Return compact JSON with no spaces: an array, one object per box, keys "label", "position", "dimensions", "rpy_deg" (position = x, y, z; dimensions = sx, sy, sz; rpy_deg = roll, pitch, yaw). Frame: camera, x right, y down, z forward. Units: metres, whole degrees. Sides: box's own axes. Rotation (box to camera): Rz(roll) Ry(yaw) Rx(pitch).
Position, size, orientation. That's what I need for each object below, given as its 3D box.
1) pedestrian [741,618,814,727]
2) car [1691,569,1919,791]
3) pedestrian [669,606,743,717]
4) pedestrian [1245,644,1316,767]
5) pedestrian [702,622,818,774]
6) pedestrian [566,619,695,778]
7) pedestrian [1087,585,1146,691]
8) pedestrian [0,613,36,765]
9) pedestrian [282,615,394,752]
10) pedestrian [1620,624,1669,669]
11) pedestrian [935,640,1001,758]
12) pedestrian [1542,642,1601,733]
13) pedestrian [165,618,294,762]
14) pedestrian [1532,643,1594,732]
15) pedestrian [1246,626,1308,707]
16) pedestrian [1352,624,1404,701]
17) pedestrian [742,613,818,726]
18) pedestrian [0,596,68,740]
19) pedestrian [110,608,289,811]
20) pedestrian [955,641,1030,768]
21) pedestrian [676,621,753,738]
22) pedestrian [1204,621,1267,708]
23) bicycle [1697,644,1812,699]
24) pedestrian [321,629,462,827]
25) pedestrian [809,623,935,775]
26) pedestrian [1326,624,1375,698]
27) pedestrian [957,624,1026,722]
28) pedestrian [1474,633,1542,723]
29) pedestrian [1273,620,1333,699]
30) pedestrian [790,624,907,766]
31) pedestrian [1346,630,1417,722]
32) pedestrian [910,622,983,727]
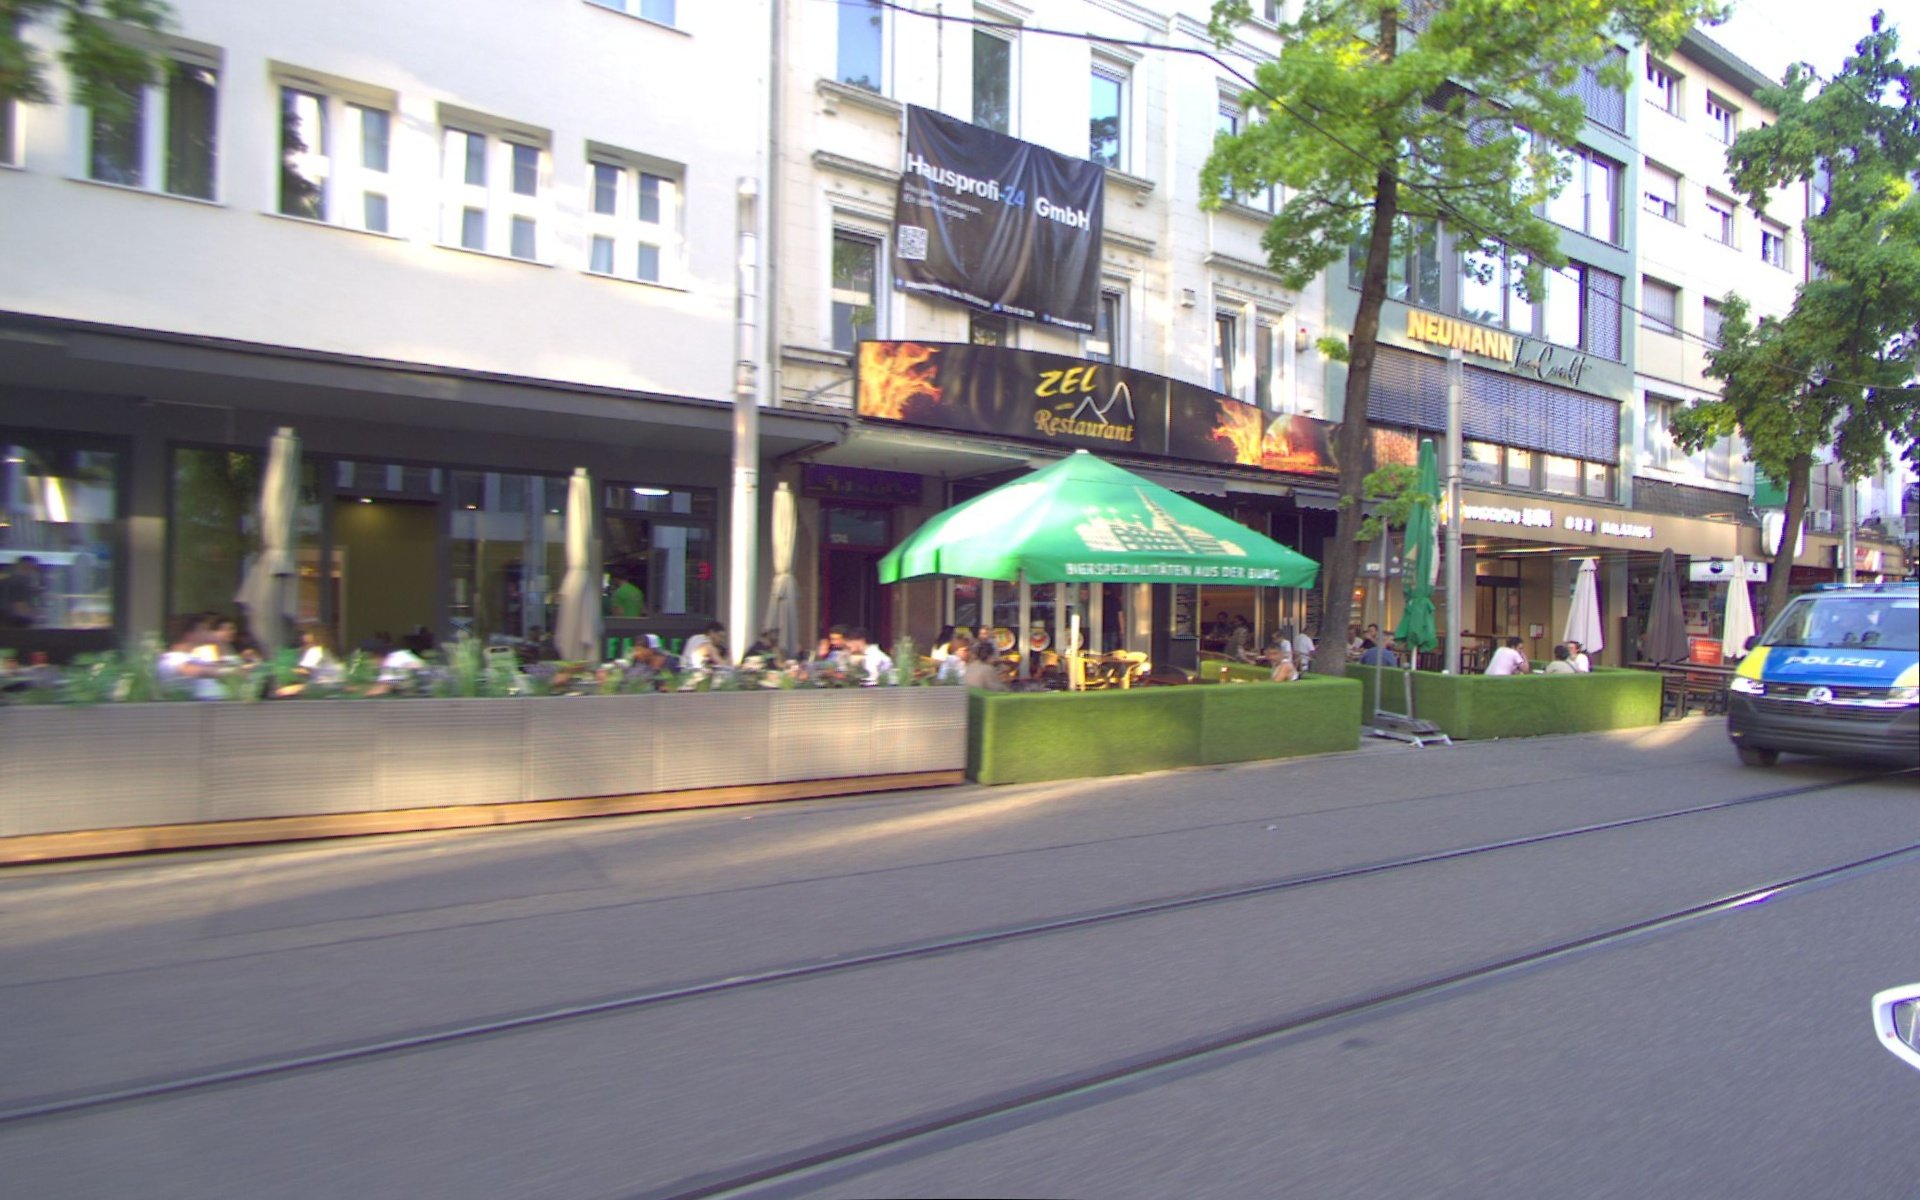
[{"label":"pedestrian","position":[-2.460,0.958,13.515],"dimensions":[0.756,1.396,0.651],"rpy_deg":[2,-1,-30]},{"label":"car","position":[10.305,0.781,11.048],"dimensions":[4.794,2.003,1.983],"rpy_deg":[1,-1,-31]},{"label":"pedestrian","position":[-3.342,0.792,13.189],"dimensions":[0.756,1.396,0.651],"rpy_deg":[2,-1,-30]},{"label":"pedestrian","position":[3.830,1.240,12.000],"dimensions":[0.558,1.396,0.544],"rpy_deg":[2,0,-30]},{"label":"pedestrian","position":[-1.953,0.926,9.794],"dimensions":[0.913,1.380,0.713],"rpy_deg":[2,0,-29]},{"label":"pedestrian","position":[-3.070,0.881,9.344],"dimensions":[0.999,1.380,0.713],"rpy_deg":[2,0,-29]},{"label":"pedestrian","position":[2.717,0.650,17.425],"dimensions":[0.647,1.789,0.762],"rpy_deg":[2,-1,41]},{"label":"pedestrian","position":[-9.023,0.781,8.982],"dimensions":[0.870,1.337,0.882],"rpy_deg":[2,-1,-27]},{"label":"pedestrian","position":[-6.467,0.846,10.492],"dimensions":[0.870,1.337,0.844],"rpy_deg":[2,-1,-27]},{"label":"pedestrian","position":[17.977,1.218,26.385],"dimensions":[0.721,1.109,0.773],"rpy_deg":[2,2,-30]},{"label":"pedestrian","position":[0.083,1.065,11.052],"dimensions":[0.504,1.235,0.540],"rpy_deg":[2,0,-28]},{"label":"pedestrian","position":[9.781,1.379,16.076],"dimensions":[0.558,1.396,0.577],"rpy_deg":[2,0,-30]},{"label":"pedestrian","position":[-7.273,0.868,10.056],"dimensions":[0.870,1.337,0.882],"rpy_deg":[2,-1,-27]},{"label":"pedestrian","position":[9.140,1.317,15.235],"dimensions":[0.634,1.283,0.549],"rpy_deg":[2,0,-30]},{"label":"pedestrian","position":[5.476,1.134,17.351],"dimensions":[0.756,1.348,0.651],"rpy_deg":[2,-1,-30]},{"label":"pedestrian","position":[7.788,1.156,18.705],"dimensions":[0.640,1.396,0.602],"rpy_deg":[2,0,-30]},{"label":"pedestrian","position":[-2.328,0.882,12.978],"dimensions":[0.756,1.396,0.651],"rpy_deg":[2,-1,-30]},{"label":"pedestrian","position":[-9.243,0.638,9.657],"dimensions":[0.831,1.337,0.620],"rpy_deg":[2,0,-27]},{"label":"pedestrian","position":[-5.572,0.768,7.422],"dimensions":[0.913,1.380,0.713],"rpy_deg":[2,0,-29]},{"label":"pedestrian","position":[0.333,1.069,10.492],"dimensions":[0.538,1.252,0.583],"rpy_deg":[2,0,-28]},{"label":"pedestrian","position":[-3.073,0.976,12.557],"dimensions":[0.756,1.396,0.651],"rpy_deg":[2,-1,-30]},{"label":"pedestrian","position":[4.593,1.059,16.754],"dimensions":[0.756,1.396,0.651],"rpy_deg":[2,-1,-30]},{"label":"bicycle","position":[16.875,1.512,21.358],"dimensions":[1.980,1.082,0.613],"rpy_deg":[1,0,-2]},{"label":"pedestrian","position":[-4.302,0.932,7.645],"dimensions":[0.861,1.380,0.713],"rpy_deg":[2,0,-29]},{"label":"pedestrian","position":[-0.860,0.933,9.815],"dimensions":[0.999,1.380,0.713],"rpy_deg":[2,0,-29]},{"label":"pedestrian","position":[7.519,1.166,19.341],"dimensions":[0.671,1.396,0.535],"rpy_deg":[2,0,-30]},{"label":"pedestrian","position":[0.469,1.080,14.994],"dimensions":[0.756,1.396,0.651],"rpy_deg":[2,-1,-30]},{"label":"pedestrian","position":[8.714,1.231,15.983],"dimensions":[0.722,1.364,0.641],"rpy_deg":[2,0,-29]},{"label":"pedestrian","position":[6.319,1.091,18.519],"dimensions":[0.756,1.396,0.687],"rpy_deg":[2,-1,-30]},{"label":"pedestrian","position":[-1.167,0.962,10.497],"dimensions":[0.999,1.380,0.713],"rpy_deg":[2,0,-29]},{"label":"pedestrian","position":[6.135,1.089,14.635],"dimensions":[0.593,1.281,0.705],"rpy_deg":[2,-1,-30]},{"label":"pedestrian","position":[-0.188,1.028,14.028],"dimensions":[0.756,1.396,0.651],"rpy_deg":[2,-1,-30]}]
